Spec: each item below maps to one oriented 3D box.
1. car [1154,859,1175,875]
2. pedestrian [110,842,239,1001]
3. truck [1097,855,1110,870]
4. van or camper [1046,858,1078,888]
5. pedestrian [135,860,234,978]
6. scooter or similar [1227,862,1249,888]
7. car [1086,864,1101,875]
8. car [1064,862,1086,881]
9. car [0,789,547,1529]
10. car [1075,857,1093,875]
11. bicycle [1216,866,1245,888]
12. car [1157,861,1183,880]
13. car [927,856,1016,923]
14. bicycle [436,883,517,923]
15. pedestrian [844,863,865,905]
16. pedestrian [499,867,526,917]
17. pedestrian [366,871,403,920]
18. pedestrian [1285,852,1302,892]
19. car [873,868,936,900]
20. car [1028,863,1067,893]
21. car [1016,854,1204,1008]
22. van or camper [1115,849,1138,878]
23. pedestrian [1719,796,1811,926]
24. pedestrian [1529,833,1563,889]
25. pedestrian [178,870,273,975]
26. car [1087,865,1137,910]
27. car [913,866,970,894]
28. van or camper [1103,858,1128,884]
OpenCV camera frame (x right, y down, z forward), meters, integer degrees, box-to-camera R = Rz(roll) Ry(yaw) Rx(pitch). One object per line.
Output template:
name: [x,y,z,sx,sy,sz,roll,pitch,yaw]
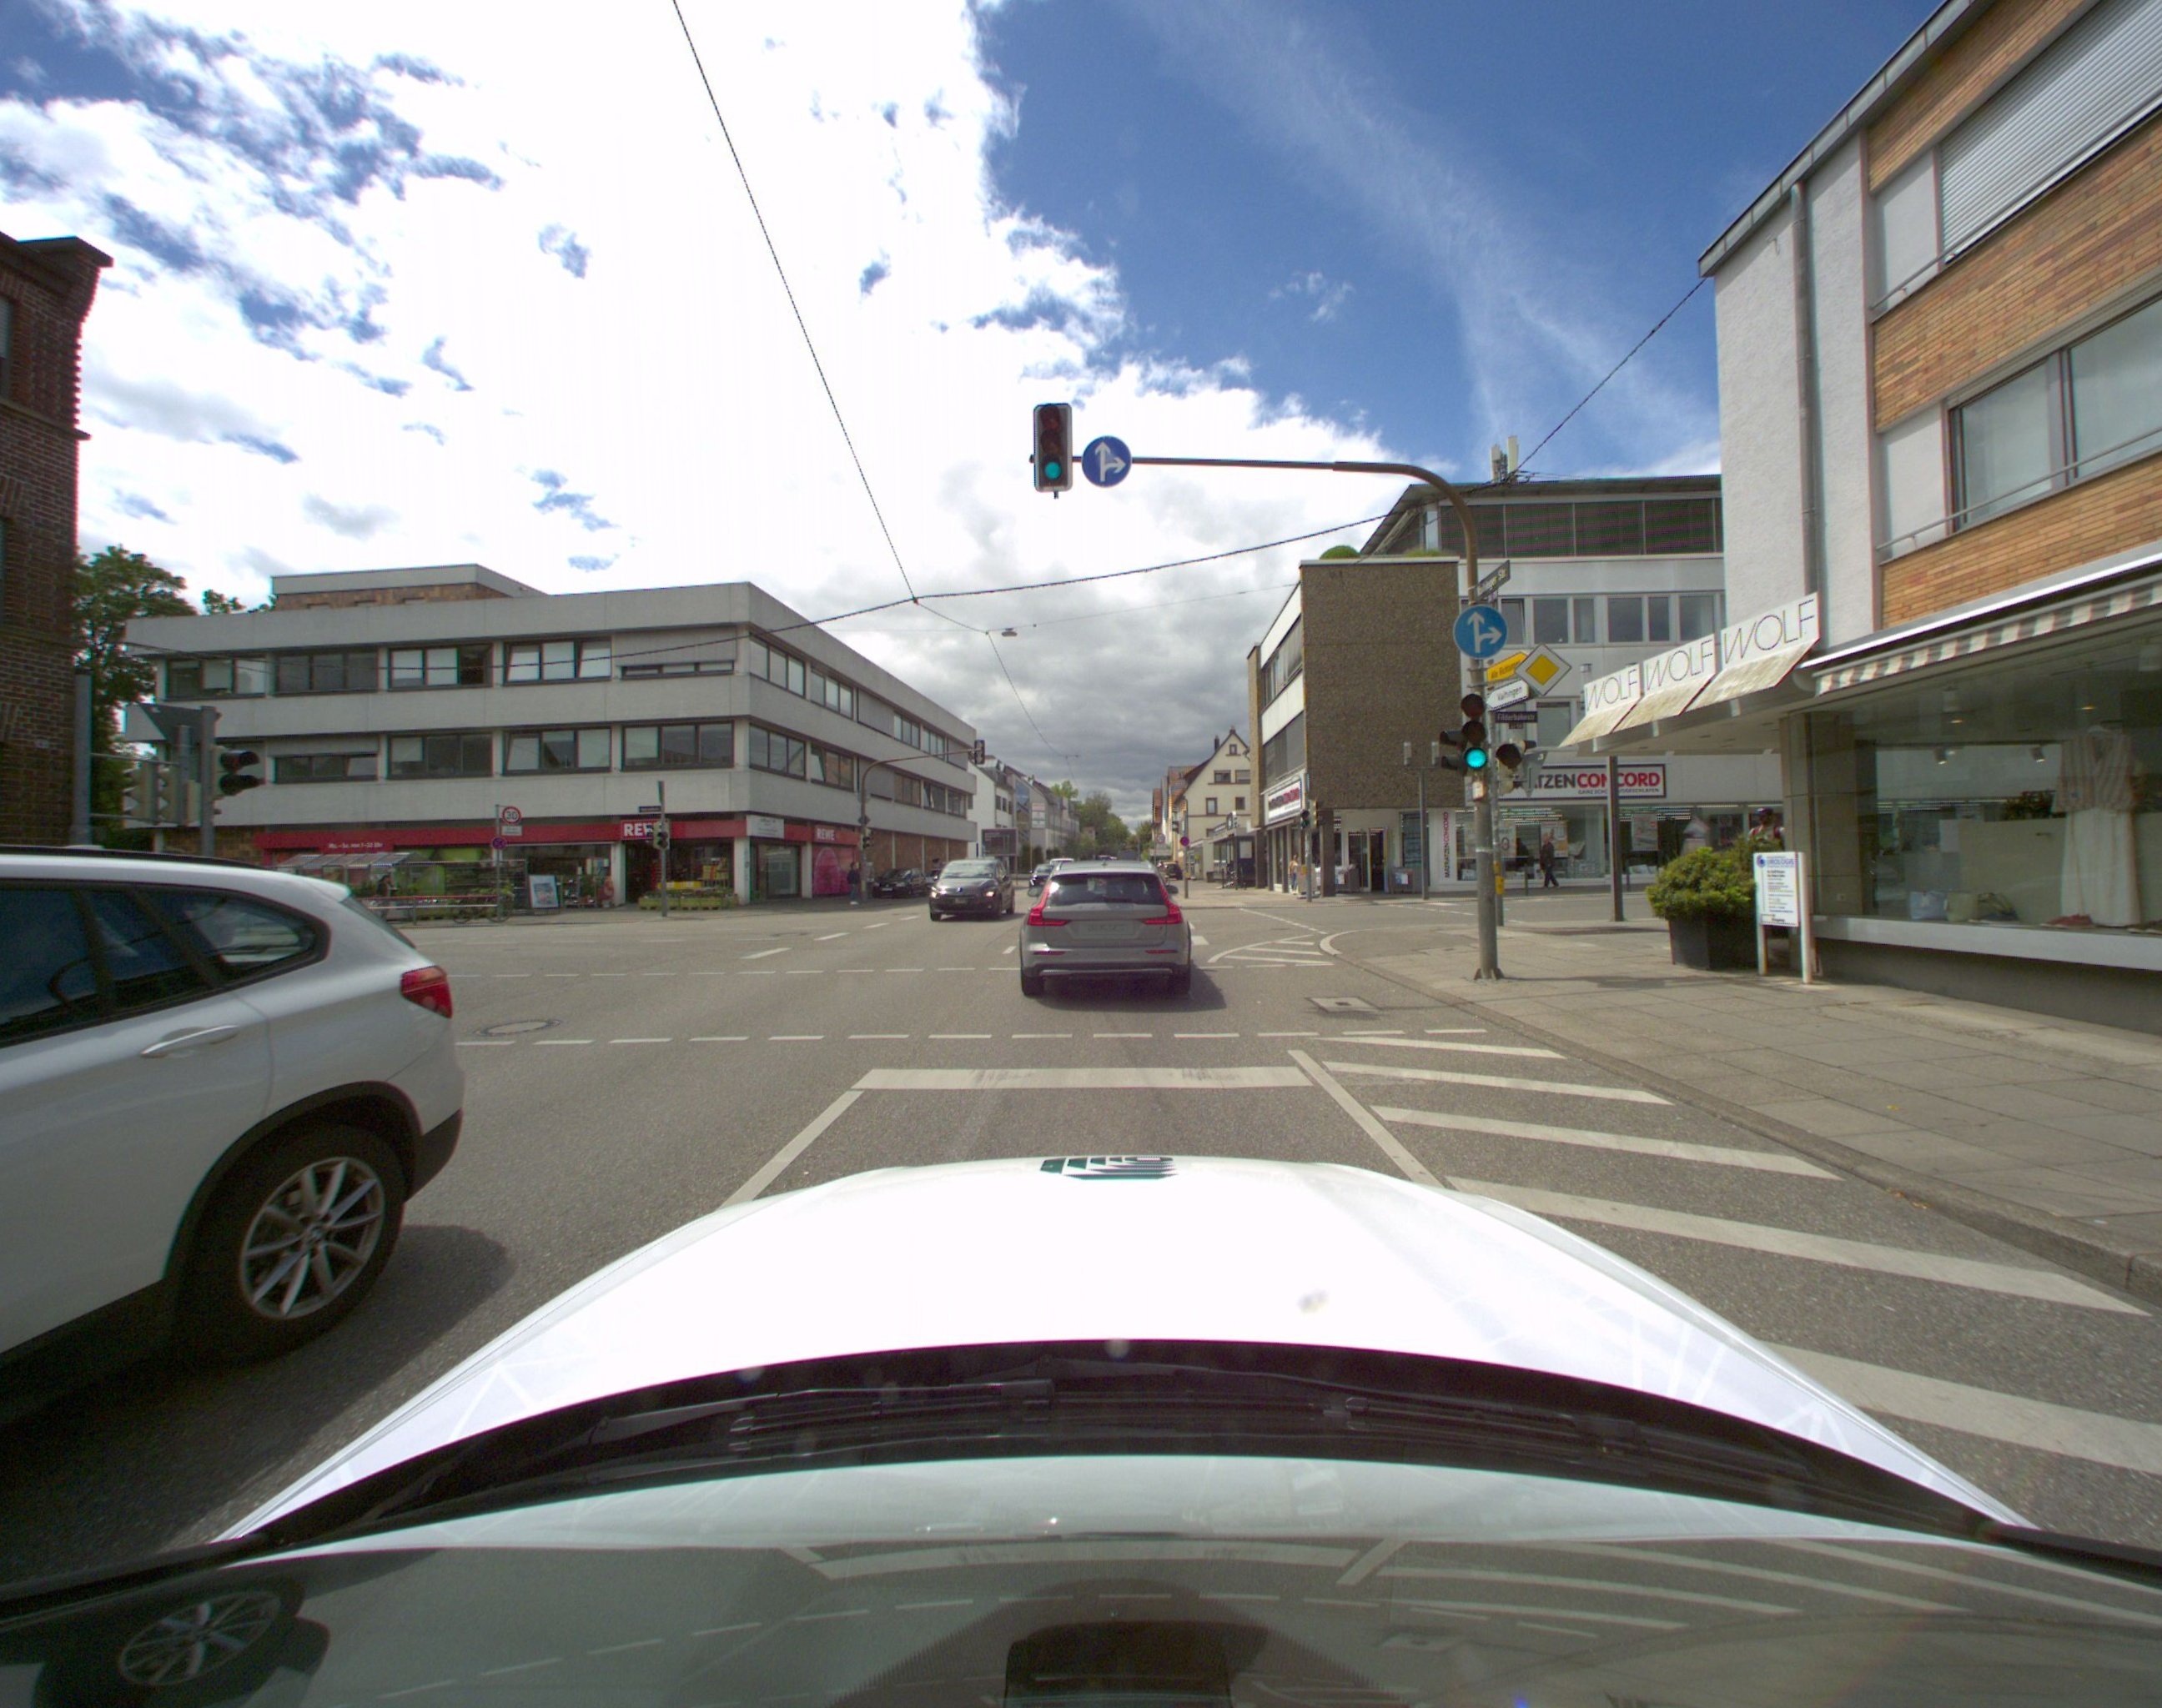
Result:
car: [8.362,1.332,81.521,1.875,1.500,3.974,0,-2,3]
pedestrian: [-10.645,0.778,9.587,0.623,1.797,0.720,0,-2,0]
truck: [4.541,1.708,165.116,2.266,2.886,7.084,-2,-1,3]
van or camper: [-1.226,1.229,55.417,1.857,1.898,4.695,-1,0,2]
pedestrian: [-13.073,0.930,11.898,0.522,1.659,0.761,0,-2,0]
scooter or similar: [7.782,1.065,40.417,0.342,1.253,1.236,-3,-2,-23]
car: [1.880,2.275,120.358,1.753,1.426,4.008,-2,-1,7]
car: [-0.525,1.532,72.144,1.661,1.554,4.218,-1,-1,3]
car: [-3.311,0.708,1.507,1.774,1.640,4.220,-3,-1,0]
car: [0.386,1.294,89.248,1.831,1.917,4.157,0,-1,2]
bicycle: [7.910,1.217,43.157,0.555,1.144,2.288,-2,-1,-15]
car: [7.407,1.410,68.029,1.705,1.464,3.999,0,-2,0]
car: [-2.853,0.894,22.107,1.783,1.589,4.100,-2,-1,0]
bicycle: [-19.154,1.542,25.855,1.880,1.142,0.774,-3,-1,-8]
pedestrian: [-9.013,1.172,32.414,0.616,1.641,0.661,-2,-1,3]
pedestrian: [-20.199,1.348,28.946,0.623,1.776,0.551,1,-3,-23]
pedestrian: [-22.849,1.353,26.739,0.726,1.597,0.691,1,-3,-25]
pedestrian: [8.106,0.688,31.068,0.500,1.459,0.502,-4,-2,15]
car: [-8.501,1.419,39.592,1.776,1.464,4.093,0,-1,6]
car: [-1.755,1.251,43.650,1.676,1.497,3.970,-2,-1,3]
car: [0.353,0.764,10.034,1.829,1.486,4.002,-1,0,2]
van or camper: [4.445,0.907,80.098,2.114,2.686,4.785,-2,-1,3]
pedestrian: [10.058,0.106,11.985,0.615,1.814,0.769,-5,0,-30]
pedestrian: [14.690,0.233,25.728,0.582,1.705,0.614,-3,-1,-30]
pedestrian: [-12.521,0.987,11.948,0.522,1.485,0.761,0,-2,0]
car: [1.091,1.135,28.588,1.644,1.482,3.608,0,-1,2]
car: [-7.663,1.411,45.128,1.894,1.443,4.451,0,0,6]
van or camper: [2.607,1.351,61.708,1.812,1.835,4.001,-1,-3,2]
